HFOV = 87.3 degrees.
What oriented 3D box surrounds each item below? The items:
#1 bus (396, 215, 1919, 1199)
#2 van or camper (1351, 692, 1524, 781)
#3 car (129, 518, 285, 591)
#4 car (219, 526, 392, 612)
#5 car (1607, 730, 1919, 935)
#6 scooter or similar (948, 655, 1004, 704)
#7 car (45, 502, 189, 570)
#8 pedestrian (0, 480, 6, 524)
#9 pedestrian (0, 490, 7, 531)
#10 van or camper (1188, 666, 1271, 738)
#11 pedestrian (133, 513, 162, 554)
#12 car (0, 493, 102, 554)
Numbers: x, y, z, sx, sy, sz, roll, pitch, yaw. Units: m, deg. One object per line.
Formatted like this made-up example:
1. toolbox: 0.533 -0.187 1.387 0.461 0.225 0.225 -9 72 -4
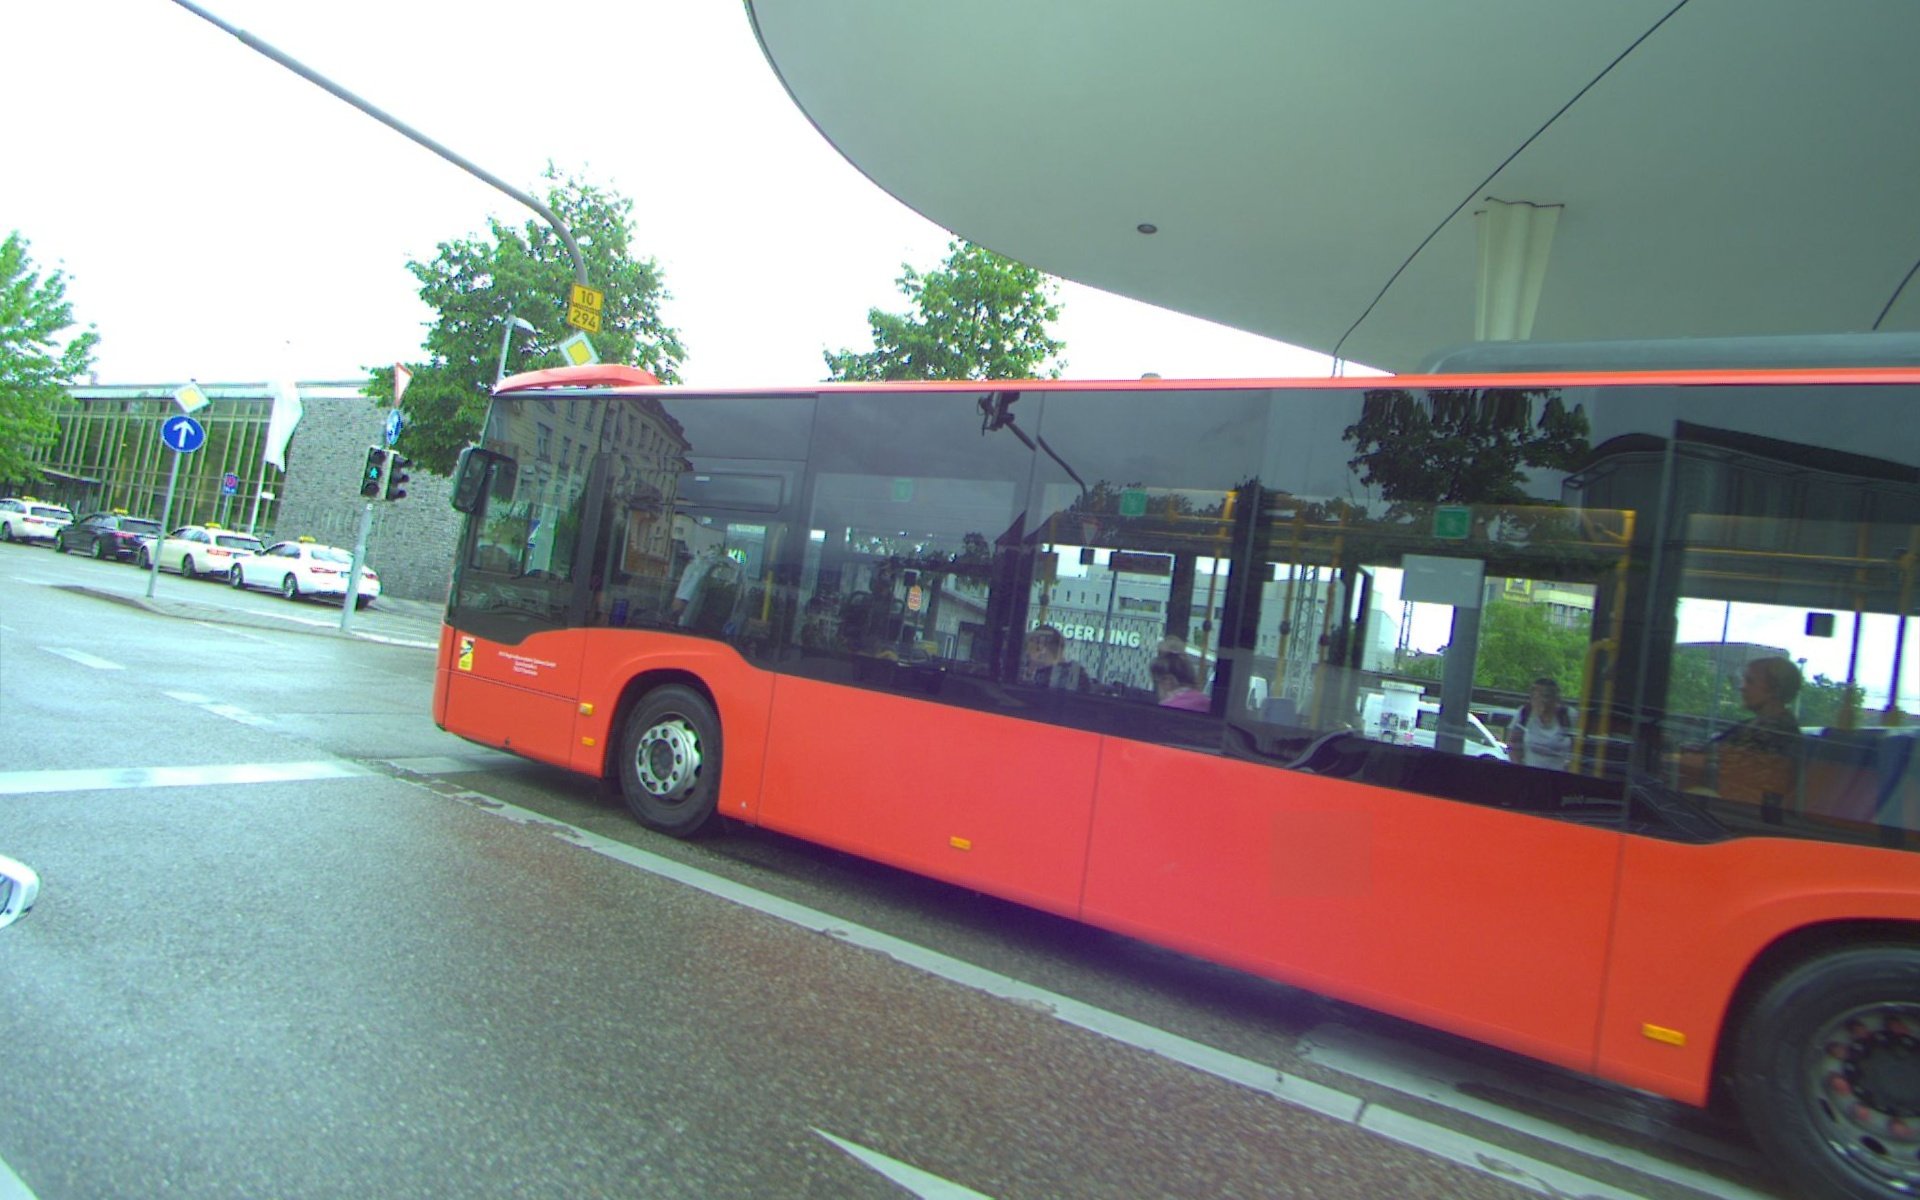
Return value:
1. bus: 0.955 0.179 6.039 10.025 3.210 2.749 7 -2 32
2. van or camper: 19.082 5.411 40.305 5.873 2.491 2.108 7 -2 32
3. car: -21.790 -1.331 29.077 4.588 1.468 1.851 7 -2 30
4. car: -17.064 -0.817 26.186 4.538 1.608 1.779 7 -2 30
5. car: 10.011 2.684 11.322 4.359 1.666 1.806 7 -4 32
6. scooter or similar: 0.478 2.405 30.524 1.503 1.284 0.467 8 -1 -4
7. car: -27.050 -2.054 32.244 4.661 1.542 1.918 7 -2 30
8. pedestrian: -53.814 -5.483 55.852 0.848 2.439 0.844 7 -1 33
9. pedestrian: -49.239 -4.610 51.111 0.814 2.037 0.771 7 -1 30
10. van or camper: 11.291 4.243 41.773 2.072 2.491 5.975 7 -3 25
11. pedestrian: -35.141 -2.874 43.518 0.703 1.665 0.566 7 -1 27
12. car: -32.643 -2.765 35.249 4.736 1.618 2.001 7 -2 25
